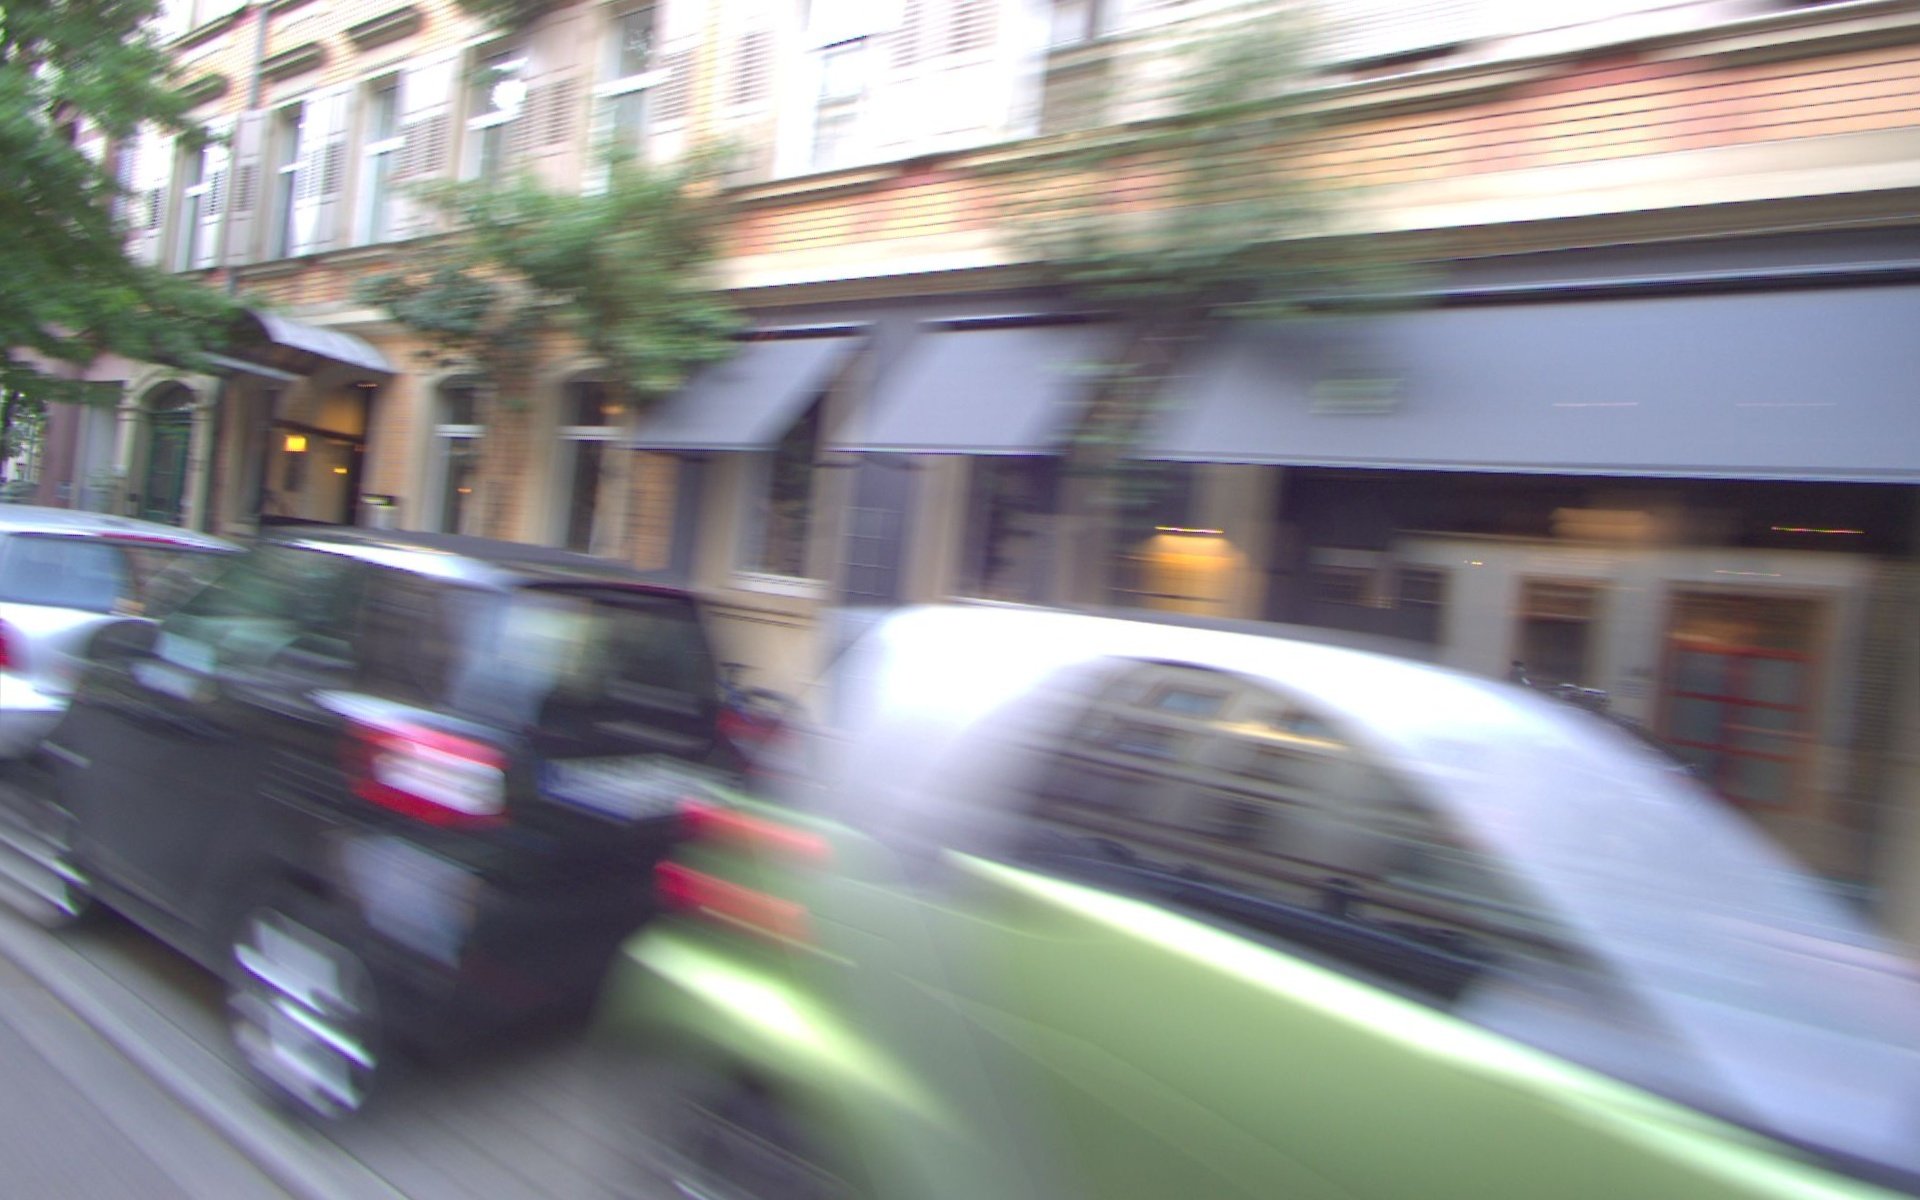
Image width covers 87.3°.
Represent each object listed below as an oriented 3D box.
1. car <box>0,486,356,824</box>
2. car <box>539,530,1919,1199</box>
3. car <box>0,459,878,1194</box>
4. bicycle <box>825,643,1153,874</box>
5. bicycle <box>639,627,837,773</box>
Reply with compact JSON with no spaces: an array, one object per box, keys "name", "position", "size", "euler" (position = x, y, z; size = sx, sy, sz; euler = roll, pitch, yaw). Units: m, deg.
[{"name":"car","position":[-5.686,0.094,6.090],"size":[4.036,1.509,1.735],"euler":[7,0,32]},{"name":"car","position":[0.768,0.826,2.076],"size":[2.867,1.572,1.466],"euler":[7,1,29]},{"name":"car","position":[-2.096,0.462,3.741],"size":[3.070,1.579,1.593],"euler":[7,0,30]},{"name":"bicycle","position":[0.141,0.912,6.352],"size":[1.918,1.050,0.686],"euler":[7,3,33]},{"name":"bicycle","position":[-1.734,0.744,7.773],"size":[1.521,0.870,0.446],"euler":[7,0,31]}]
